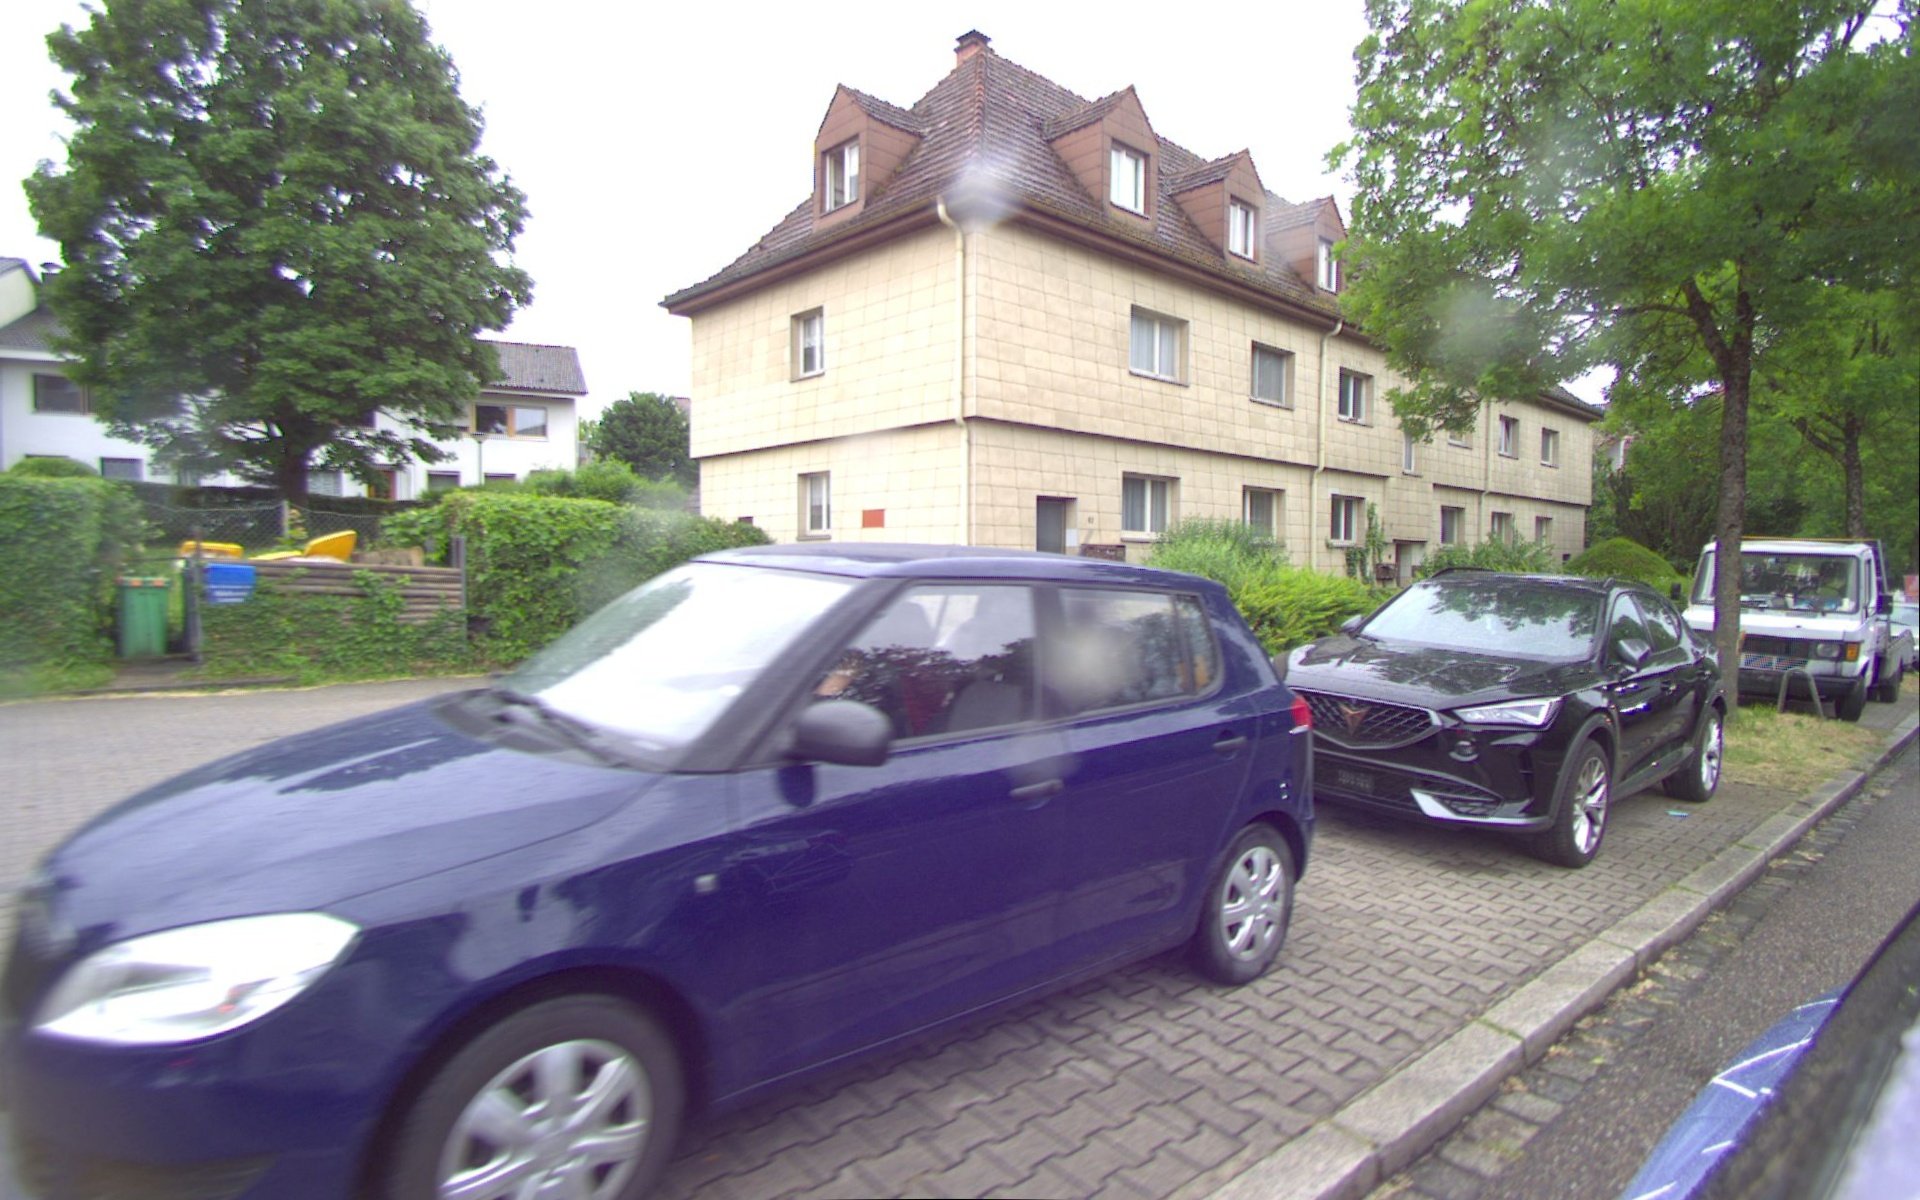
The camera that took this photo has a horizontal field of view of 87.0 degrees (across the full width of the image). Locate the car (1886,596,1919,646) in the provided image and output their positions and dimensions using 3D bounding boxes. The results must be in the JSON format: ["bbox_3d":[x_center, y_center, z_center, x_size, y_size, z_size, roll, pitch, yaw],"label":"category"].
[{"bbox_3d":[29.724,0.641,30.926,4.423,1.406,1.691,0,3,-43],"label":"car"}]

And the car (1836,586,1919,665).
[{"bbox_3d":[20.057,0.551,21.482,3.951,1.453,1.605,2,3,-41],"label":"car"}]

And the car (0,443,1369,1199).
[{"bbox_3d":[-0.443,0.477,3.194,3.789,1.489,1.608,0,4,-41],"label":"car"}]

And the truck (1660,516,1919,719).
[{"bbox_3d":[12.062,0.142,14.319,6.391,2.248,2.084,0,4,-43],"label":"truck"}]

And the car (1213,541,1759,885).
[{"bbox_3d":[3.612,0.485,6.592,4.110,1.517,1.718,0,4,-41],"label":"car"}]
